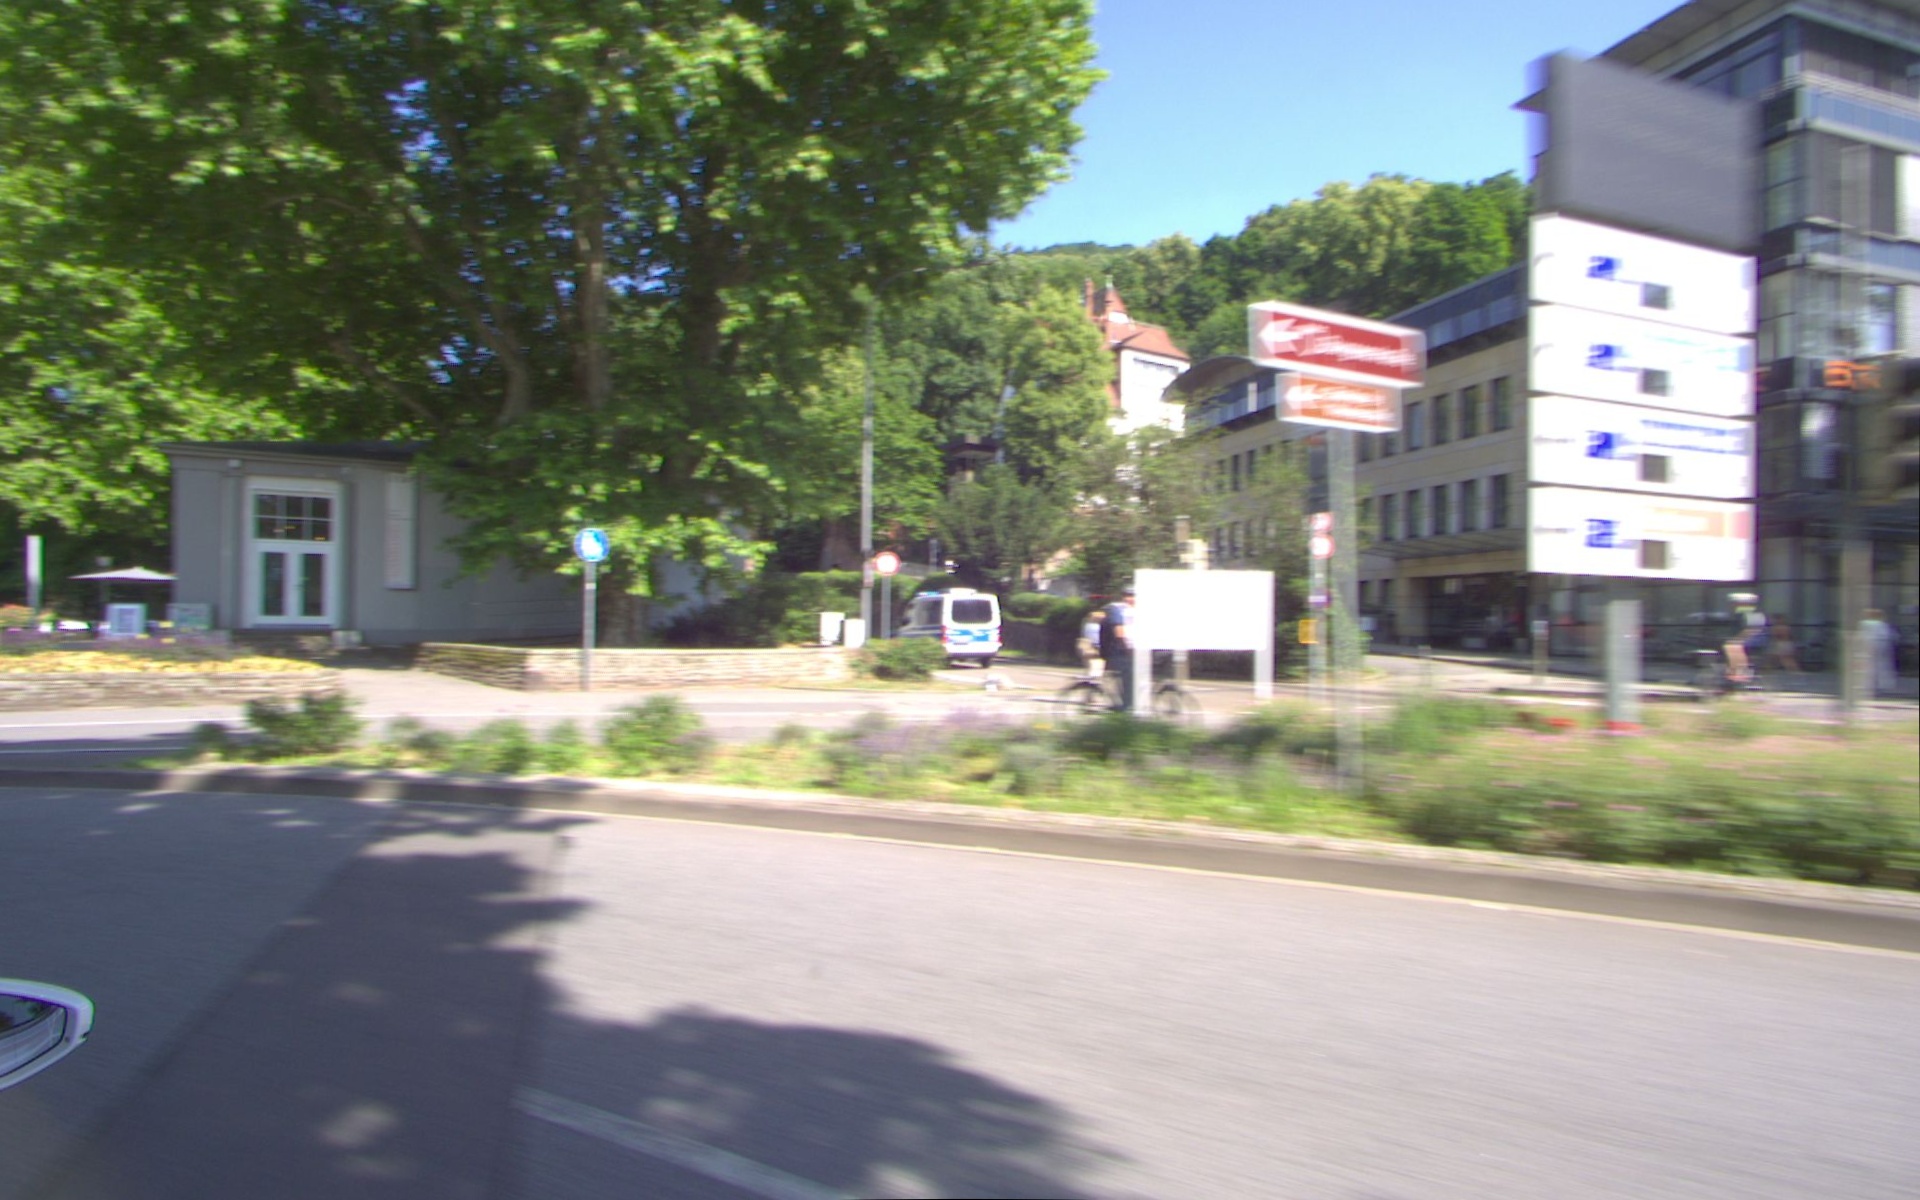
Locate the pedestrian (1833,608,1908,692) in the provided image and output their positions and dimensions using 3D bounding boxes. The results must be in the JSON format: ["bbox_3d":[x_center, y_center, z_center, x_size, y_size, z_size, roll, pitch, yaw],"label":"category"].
[{"bbox_3d":[18.524,1.011,20.381,0.759,1.684,0.829,1,-1,-9],"label":"pedestrian"}]

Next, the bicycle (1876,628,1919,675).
[{"bbox_3d":[22.630,1.209,23.376,0.529,1.099,1.832,0,-1,-17],"label":"bicycle"}]

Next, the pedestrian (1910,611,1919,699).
[{"bbox_3d":[18.648,1.047,18.860,0.759,1.684,0.828,1,-1,-14],"label":"pedestrian"}]

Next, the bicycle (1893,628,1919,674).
[{"bbox_3d":[23.170,1.212,23.498,0.529,1.099,1.832,0,-1,-17],"label":"bicycle"}]

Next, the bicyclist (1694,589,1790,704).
[{"bbox_3d":[13.648,0.809,17.493,1.108,1.957,0.748,1,-1,-6],"label":"bicyclist"}]

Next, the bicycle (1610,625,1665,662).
[{"bbox_3d":[19.194,1.228,28.388,0.399,1.026,1.338,0,-1,-18],"label":"bicycle"}]

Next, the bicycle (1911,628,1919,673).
[{"bbox_3d":[23.778,1.217,23.682,0.529,1.099,1.832,0,-1,-17],"label":"bicycle"}]

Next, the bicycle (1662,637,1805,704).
[{"bbox_3d":[13.479,1.228,17.470,2.043,1.127,0.757,1,-1,-7],"label":"bicycle"}]

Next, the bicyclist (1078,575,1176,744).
[{"bbox_3d":[1.984,0.700,12.009,1.108,1.957,0.748,0,-1,6],"label":"bicyclist"}]

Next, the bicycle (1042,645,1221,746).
[{"bbox_3d":[2.021,1.123,11.998,2.043,1.127,0.757,0,-1,6],"label":"bicycle"}]

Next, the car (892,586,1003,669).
[{"bbox_3d":[-0.522,0.944,33.154,2.046,2.540,4.917,1,-2,-21],"label":"car"}]

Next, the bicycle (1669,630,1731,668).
[{"bbox_3d":[19.671,1.290,26.645,0.399,0.953,1.338,0,-1,-18],"label":"bicycle"}]

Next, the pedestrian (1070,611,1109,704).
[{"bbox_3d":[2.335,1.032,18.140,0.538,1.642,0.634,0,0,-10],"label":"pedestrian"}]

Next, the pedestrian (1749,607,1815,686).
[{"bbox_3d":[18.038,1.013,21.981,0.759,1.684,0.829,1,-1,-9],"label":"pedestrian"}]
